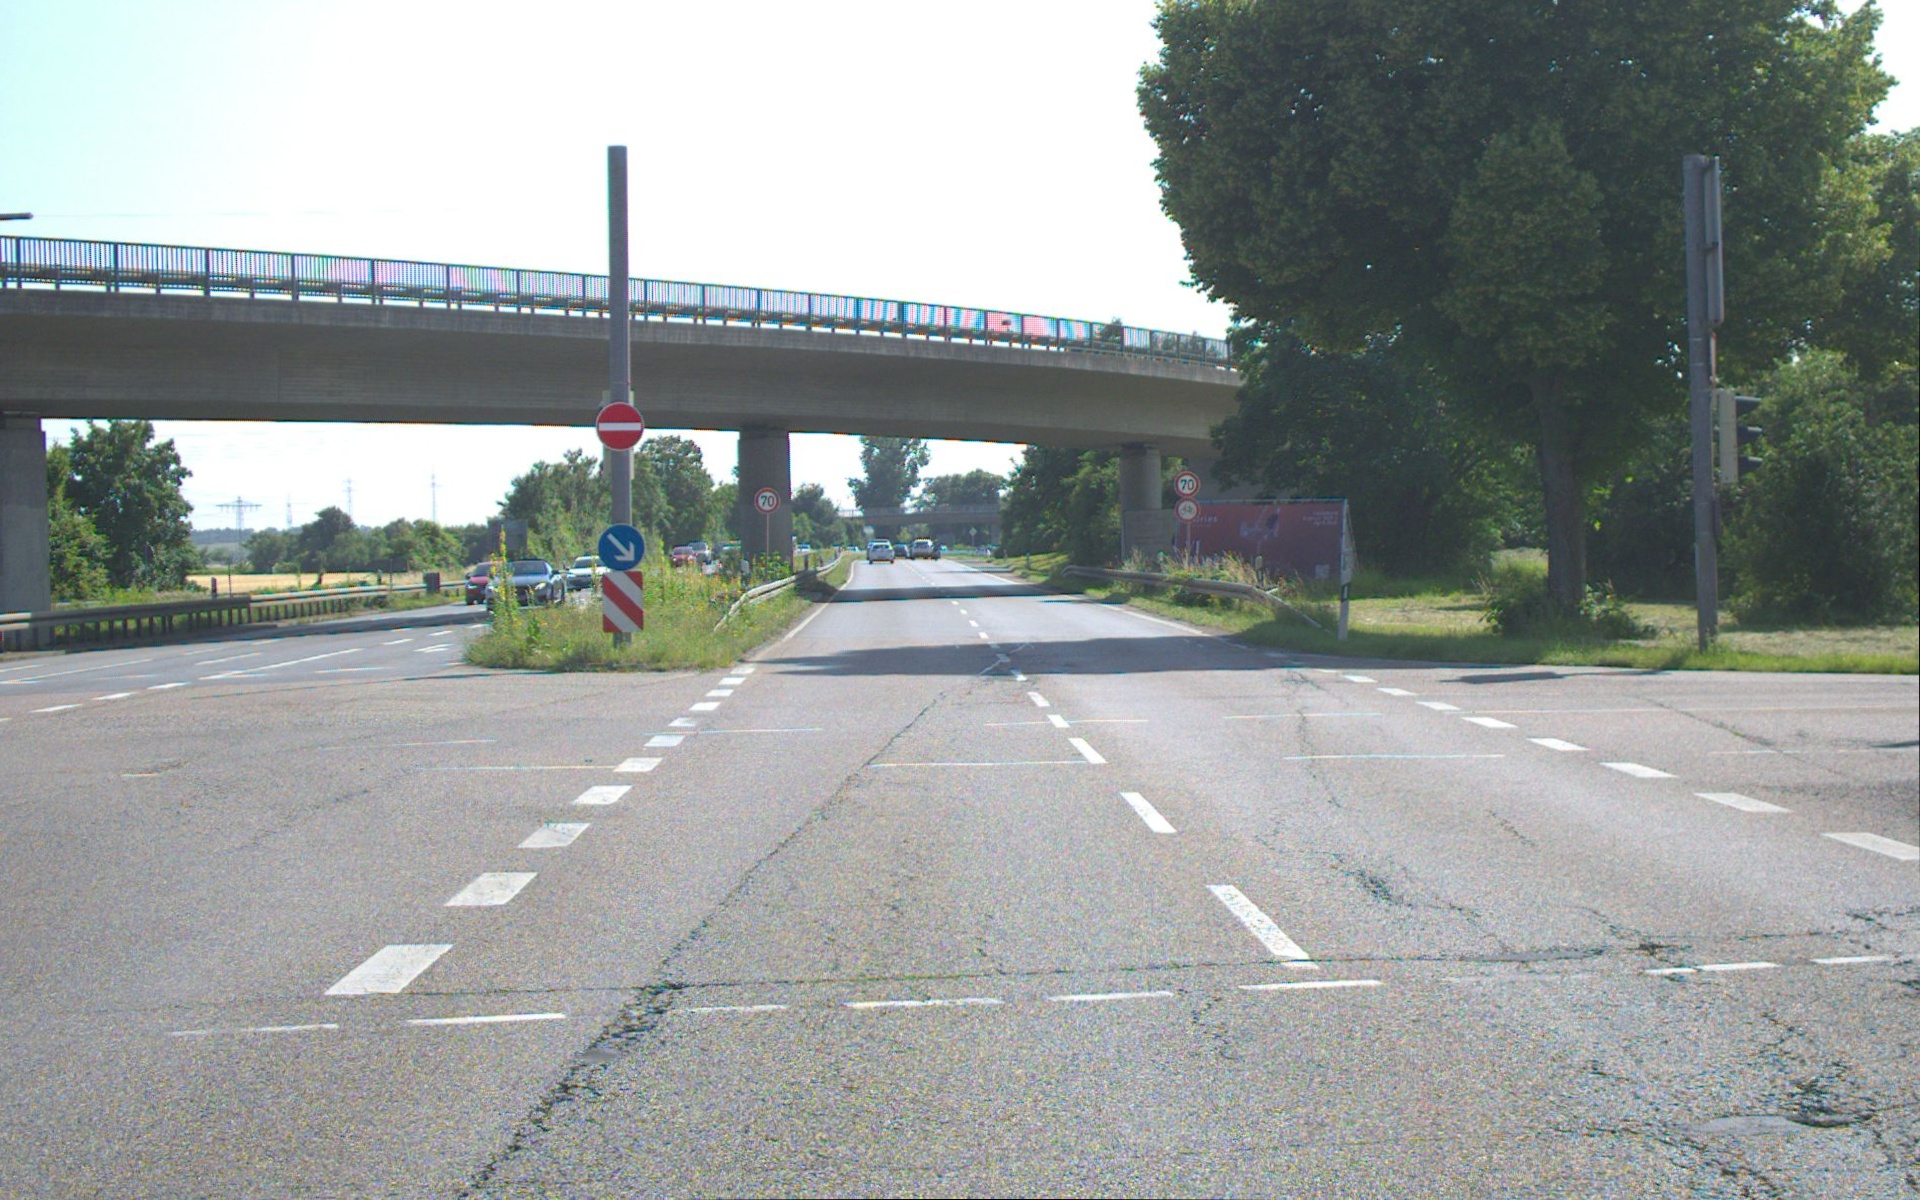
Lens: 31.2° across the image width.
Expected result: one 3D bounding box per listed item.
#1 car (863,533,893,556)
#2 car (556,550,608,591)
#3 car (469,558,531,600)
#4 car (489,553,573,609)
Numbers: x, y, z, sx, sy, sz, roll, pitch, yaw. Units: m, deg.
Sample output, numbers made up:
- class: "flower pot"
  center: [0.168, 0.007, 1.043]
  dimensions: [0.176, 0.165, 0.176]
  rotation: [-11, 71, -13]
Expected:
- class: "car"
  center: [-5.690, -3.897, 239.708]
  dimensions: [1.851, 1.456, 4.000]
  rotation: [-4, 1, 1]
- class: "car"
  center: [-15.768, -1.262, 143.652]
  dimensions: [1.790, 1.622, 4.000]
  rotation: [-2, 1, -2]
- class: "car"
  center: [-16.027, -0.732, 119.895]
  dimensions: [1.640, 1.380, 4.241]
  rotation: [-2, 1, -1]
- class: "car"
  center: [-12.197, -0.564, 97.923]
  dimensions: [1.856, 1.443, 4.241]
  rotation: [-3, 1, -1]
